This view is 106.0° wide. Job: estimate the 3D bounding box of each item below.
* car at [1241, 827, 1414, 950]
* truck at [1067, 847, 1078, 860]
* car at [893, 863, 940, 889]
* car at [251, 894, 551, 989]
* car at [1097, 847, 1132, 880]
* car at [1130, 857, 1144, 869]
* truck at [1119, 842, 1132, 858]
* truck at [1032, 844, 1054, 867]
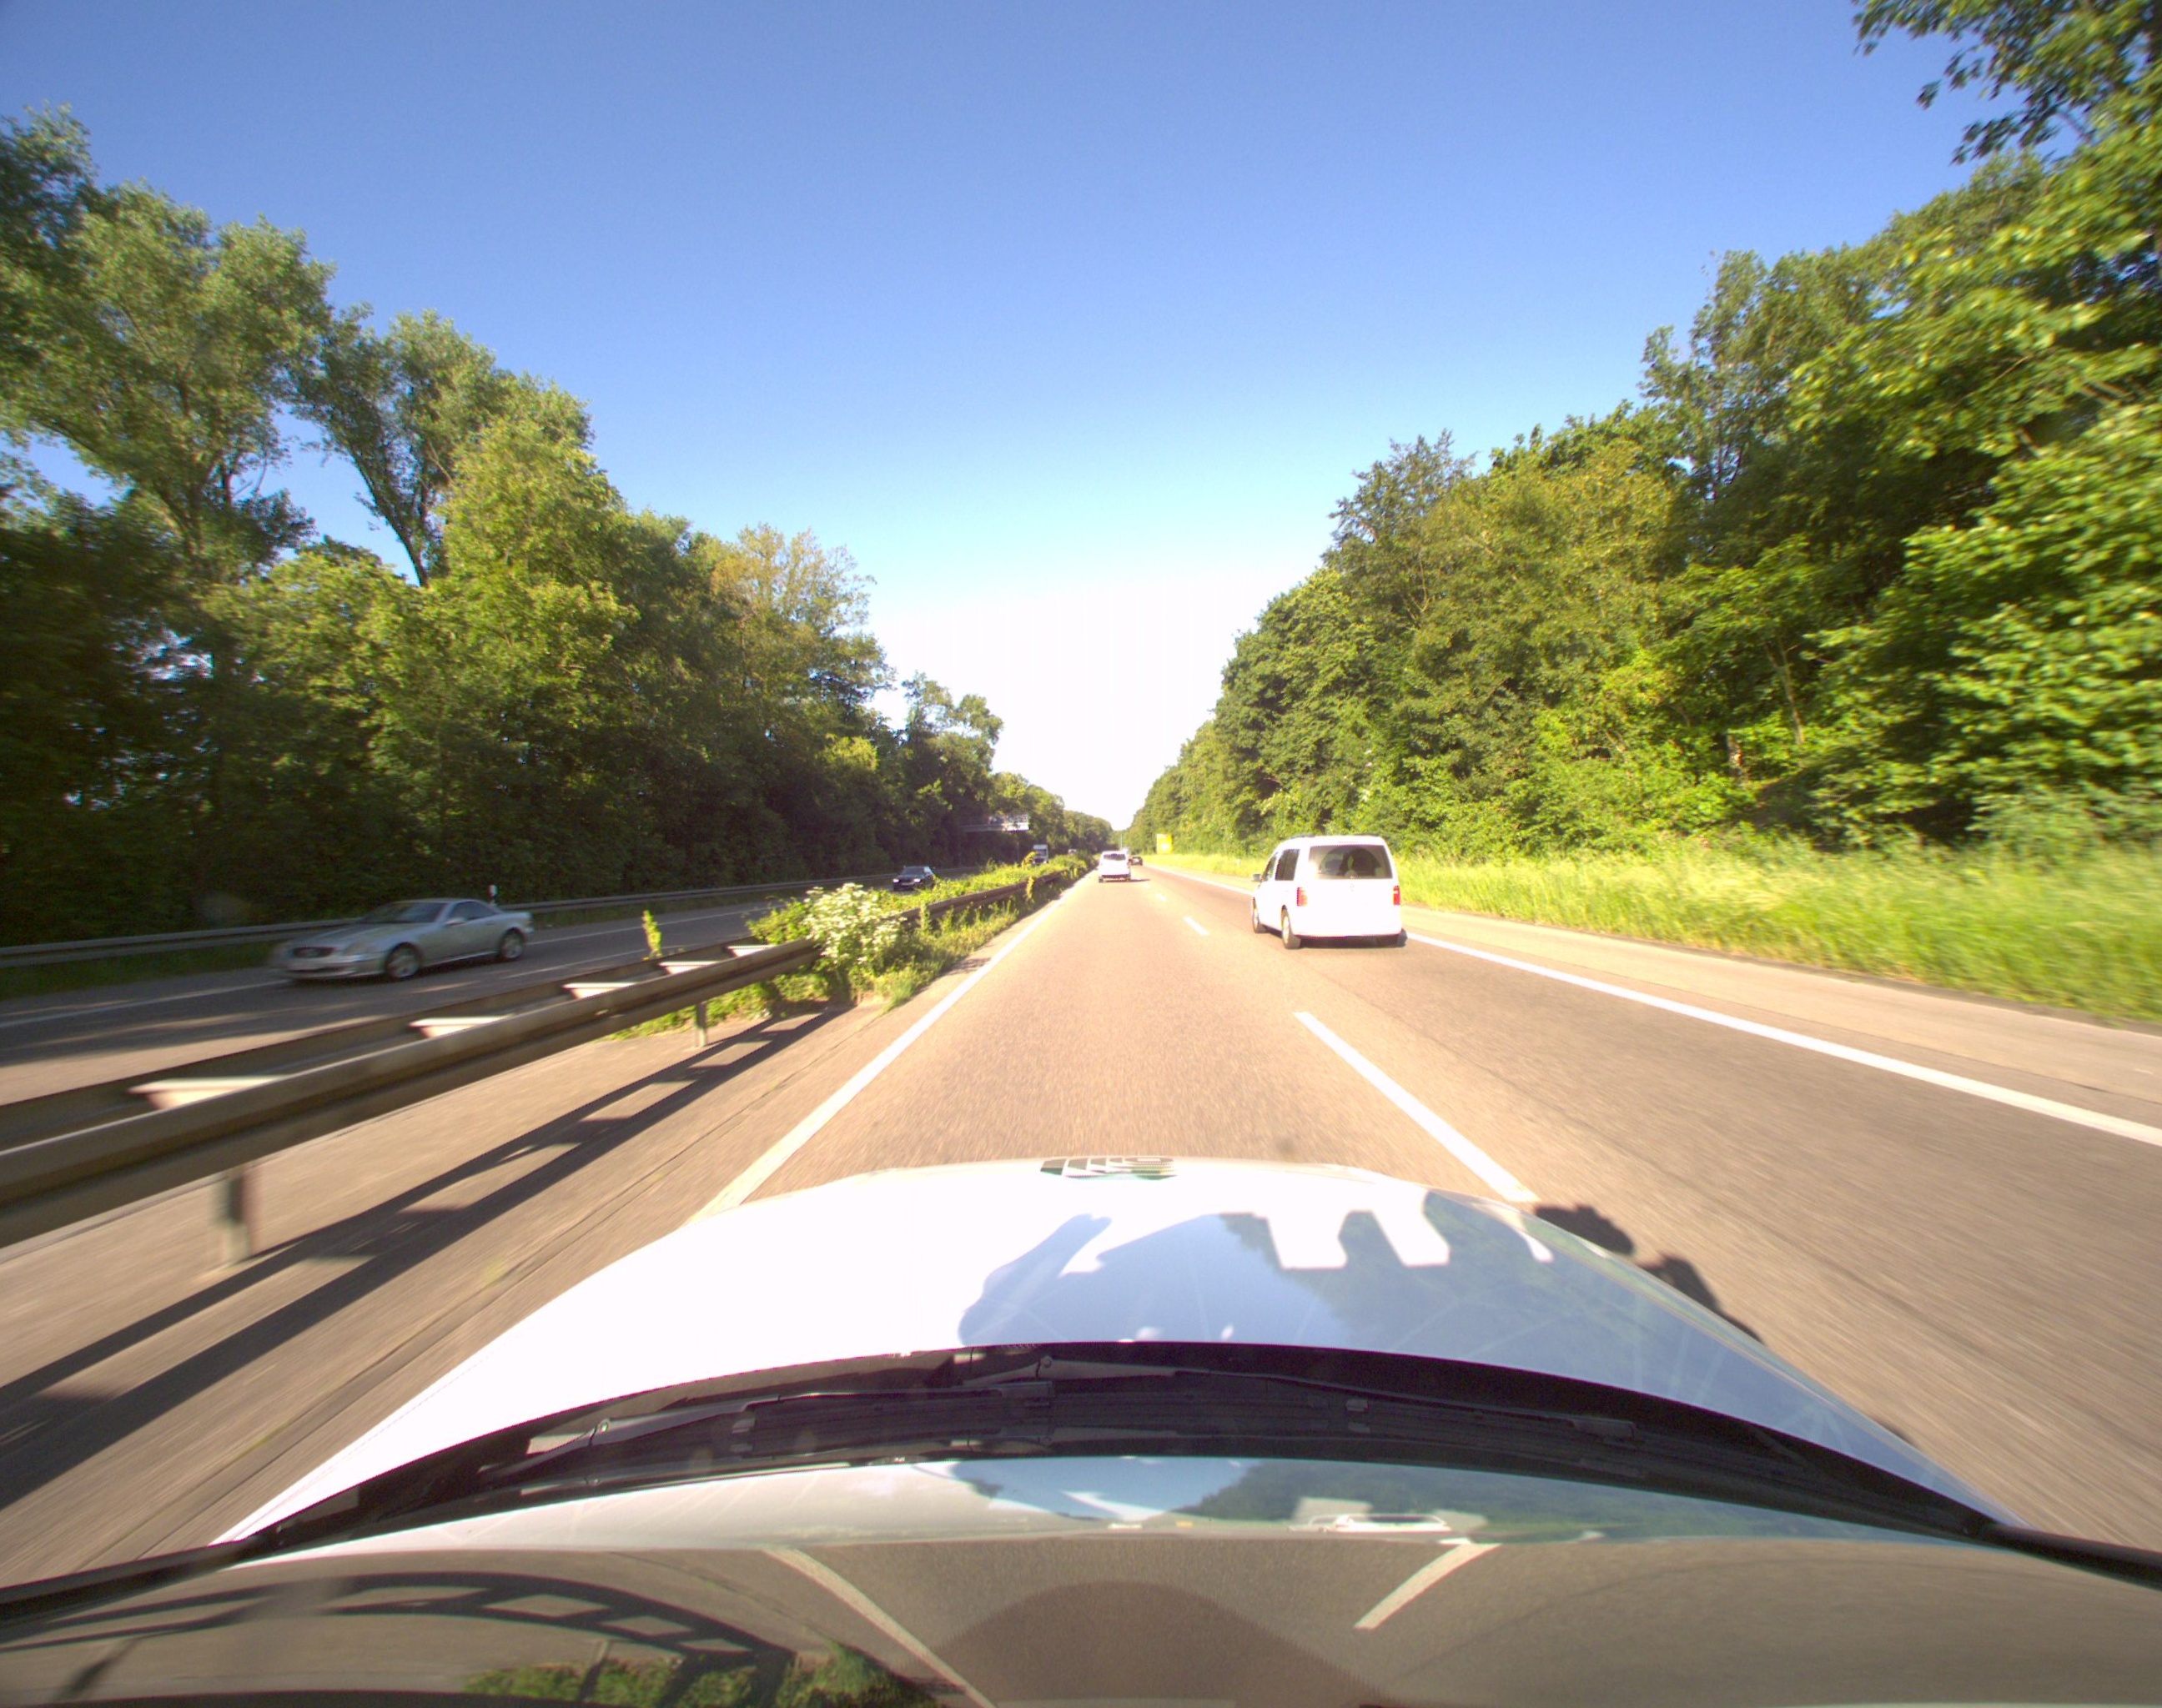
[{"bbox_3d":[4.114,0.538,14.403,1.792,1.813,4.589,0,-1,2],"label":"car"},{"bbox_3d":[-2.740,-0.108,259.852,3.216,4.013,5.679,0,0,2],"label":"truck"},{"bbox_3d":[-9.847,1.305,49.024,1.726,1.408,4.558,0,0,2],"label":"car"},{"bbox_3d":[-11.732,1.440,14.515,1.639,1.223,4.265,-1,0,2],"label":"car"},{"bbox_3d":[1.960,0.557,47.874,1.944,1.782,4.589,0,-1,2],"label":"car"},{"bbox_3d":[8.409,1.412,122.706,1.944,1.782,4.589,0,-1,2],"label":"car"},{"bbox_3d":[12.799,-1.072,234.776,3.719,4.343,9.309,0,-1,2],"label":"truck"},{"bbox_3d":[-6.680,0.281,143.775,2.758,3.955,11.473,0,-1,2],"label":"truck"}]
